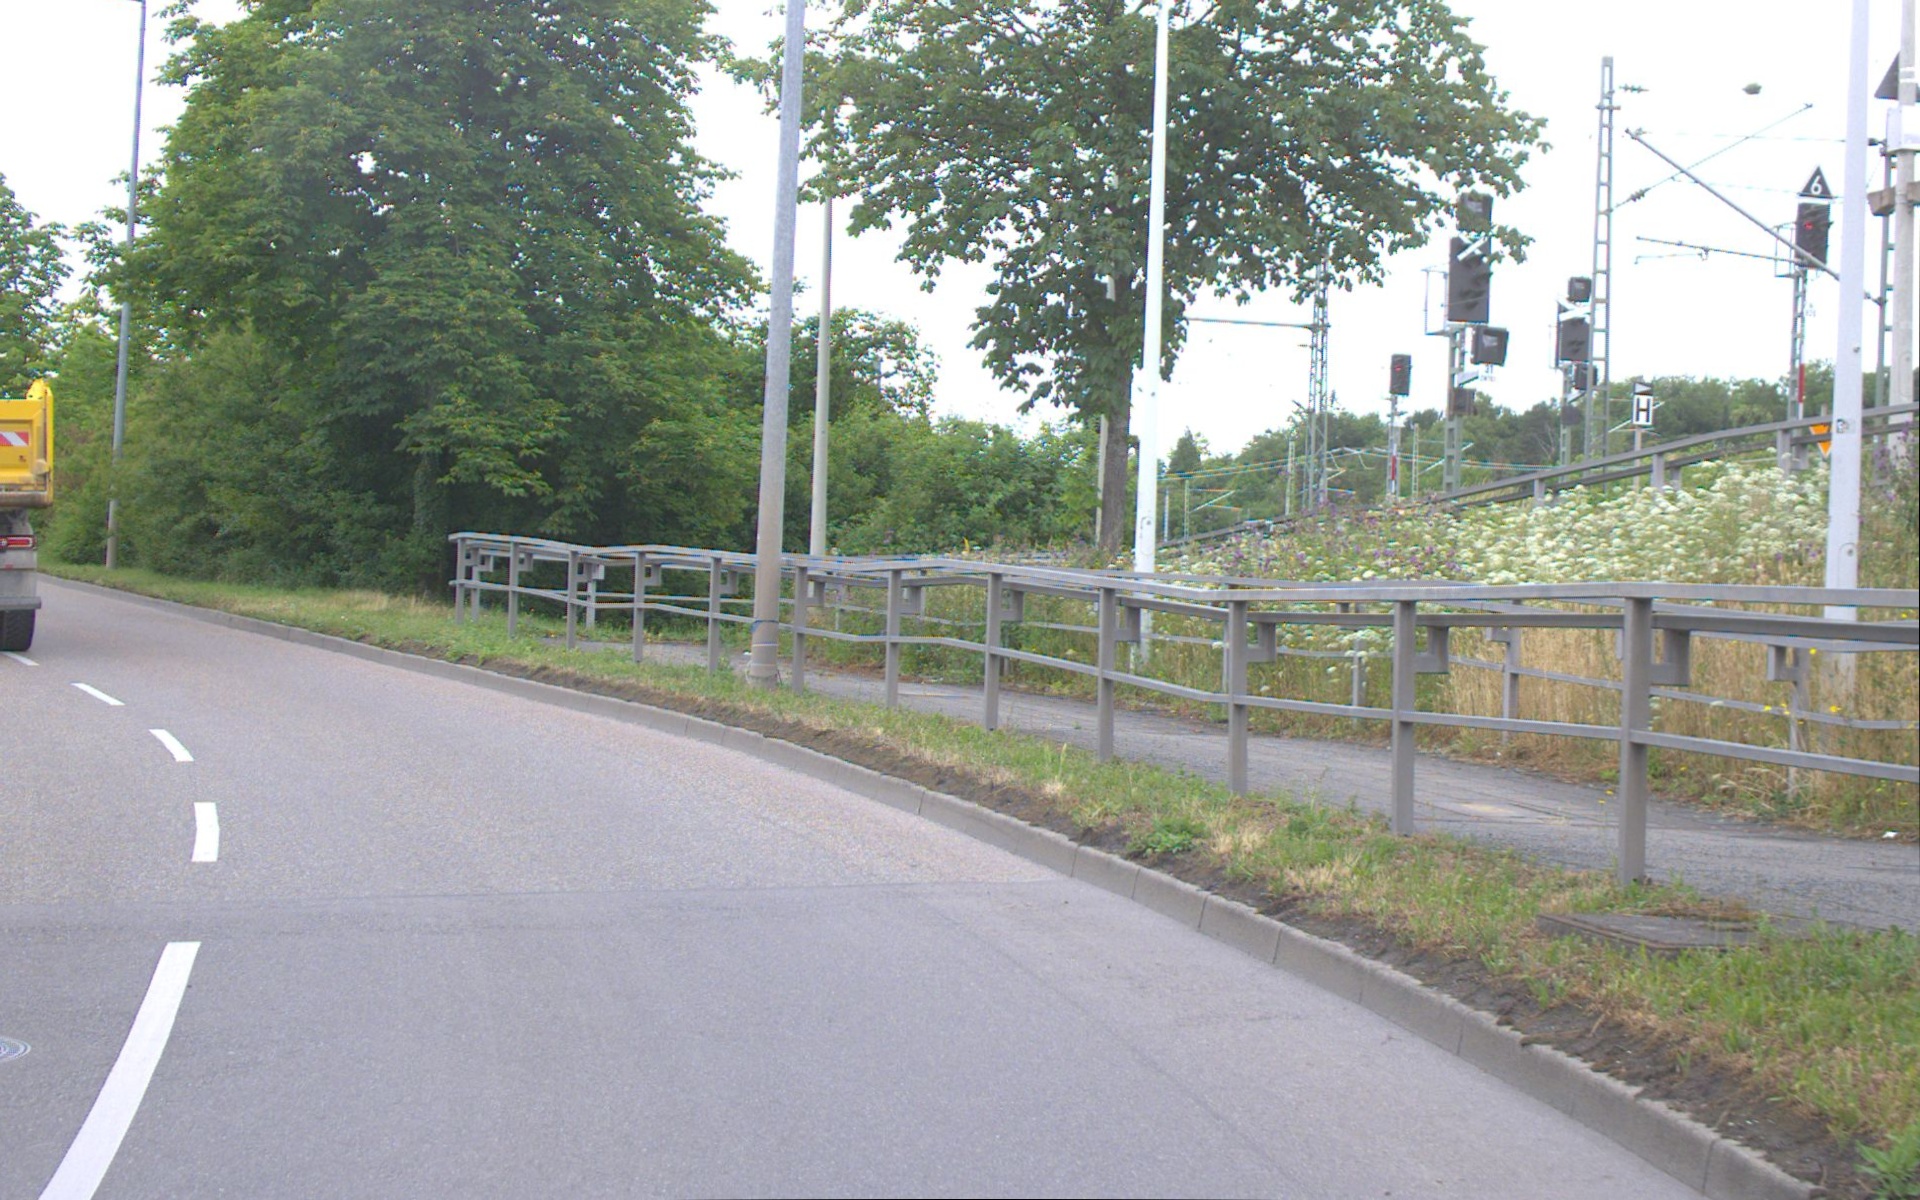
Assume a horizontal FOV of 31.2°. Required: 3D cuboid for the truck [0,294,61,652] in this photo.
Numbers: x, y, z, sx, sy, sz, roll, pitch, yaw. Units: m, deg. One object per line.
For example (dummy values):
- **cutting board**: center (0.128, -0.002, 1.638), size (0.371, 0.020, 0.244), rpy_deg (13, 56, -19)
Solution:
- **truck**: center (-11.596, -1.384, 36.916), size (2.764, 3.471, 8.132), rpy_deg (0, 2, -22)
